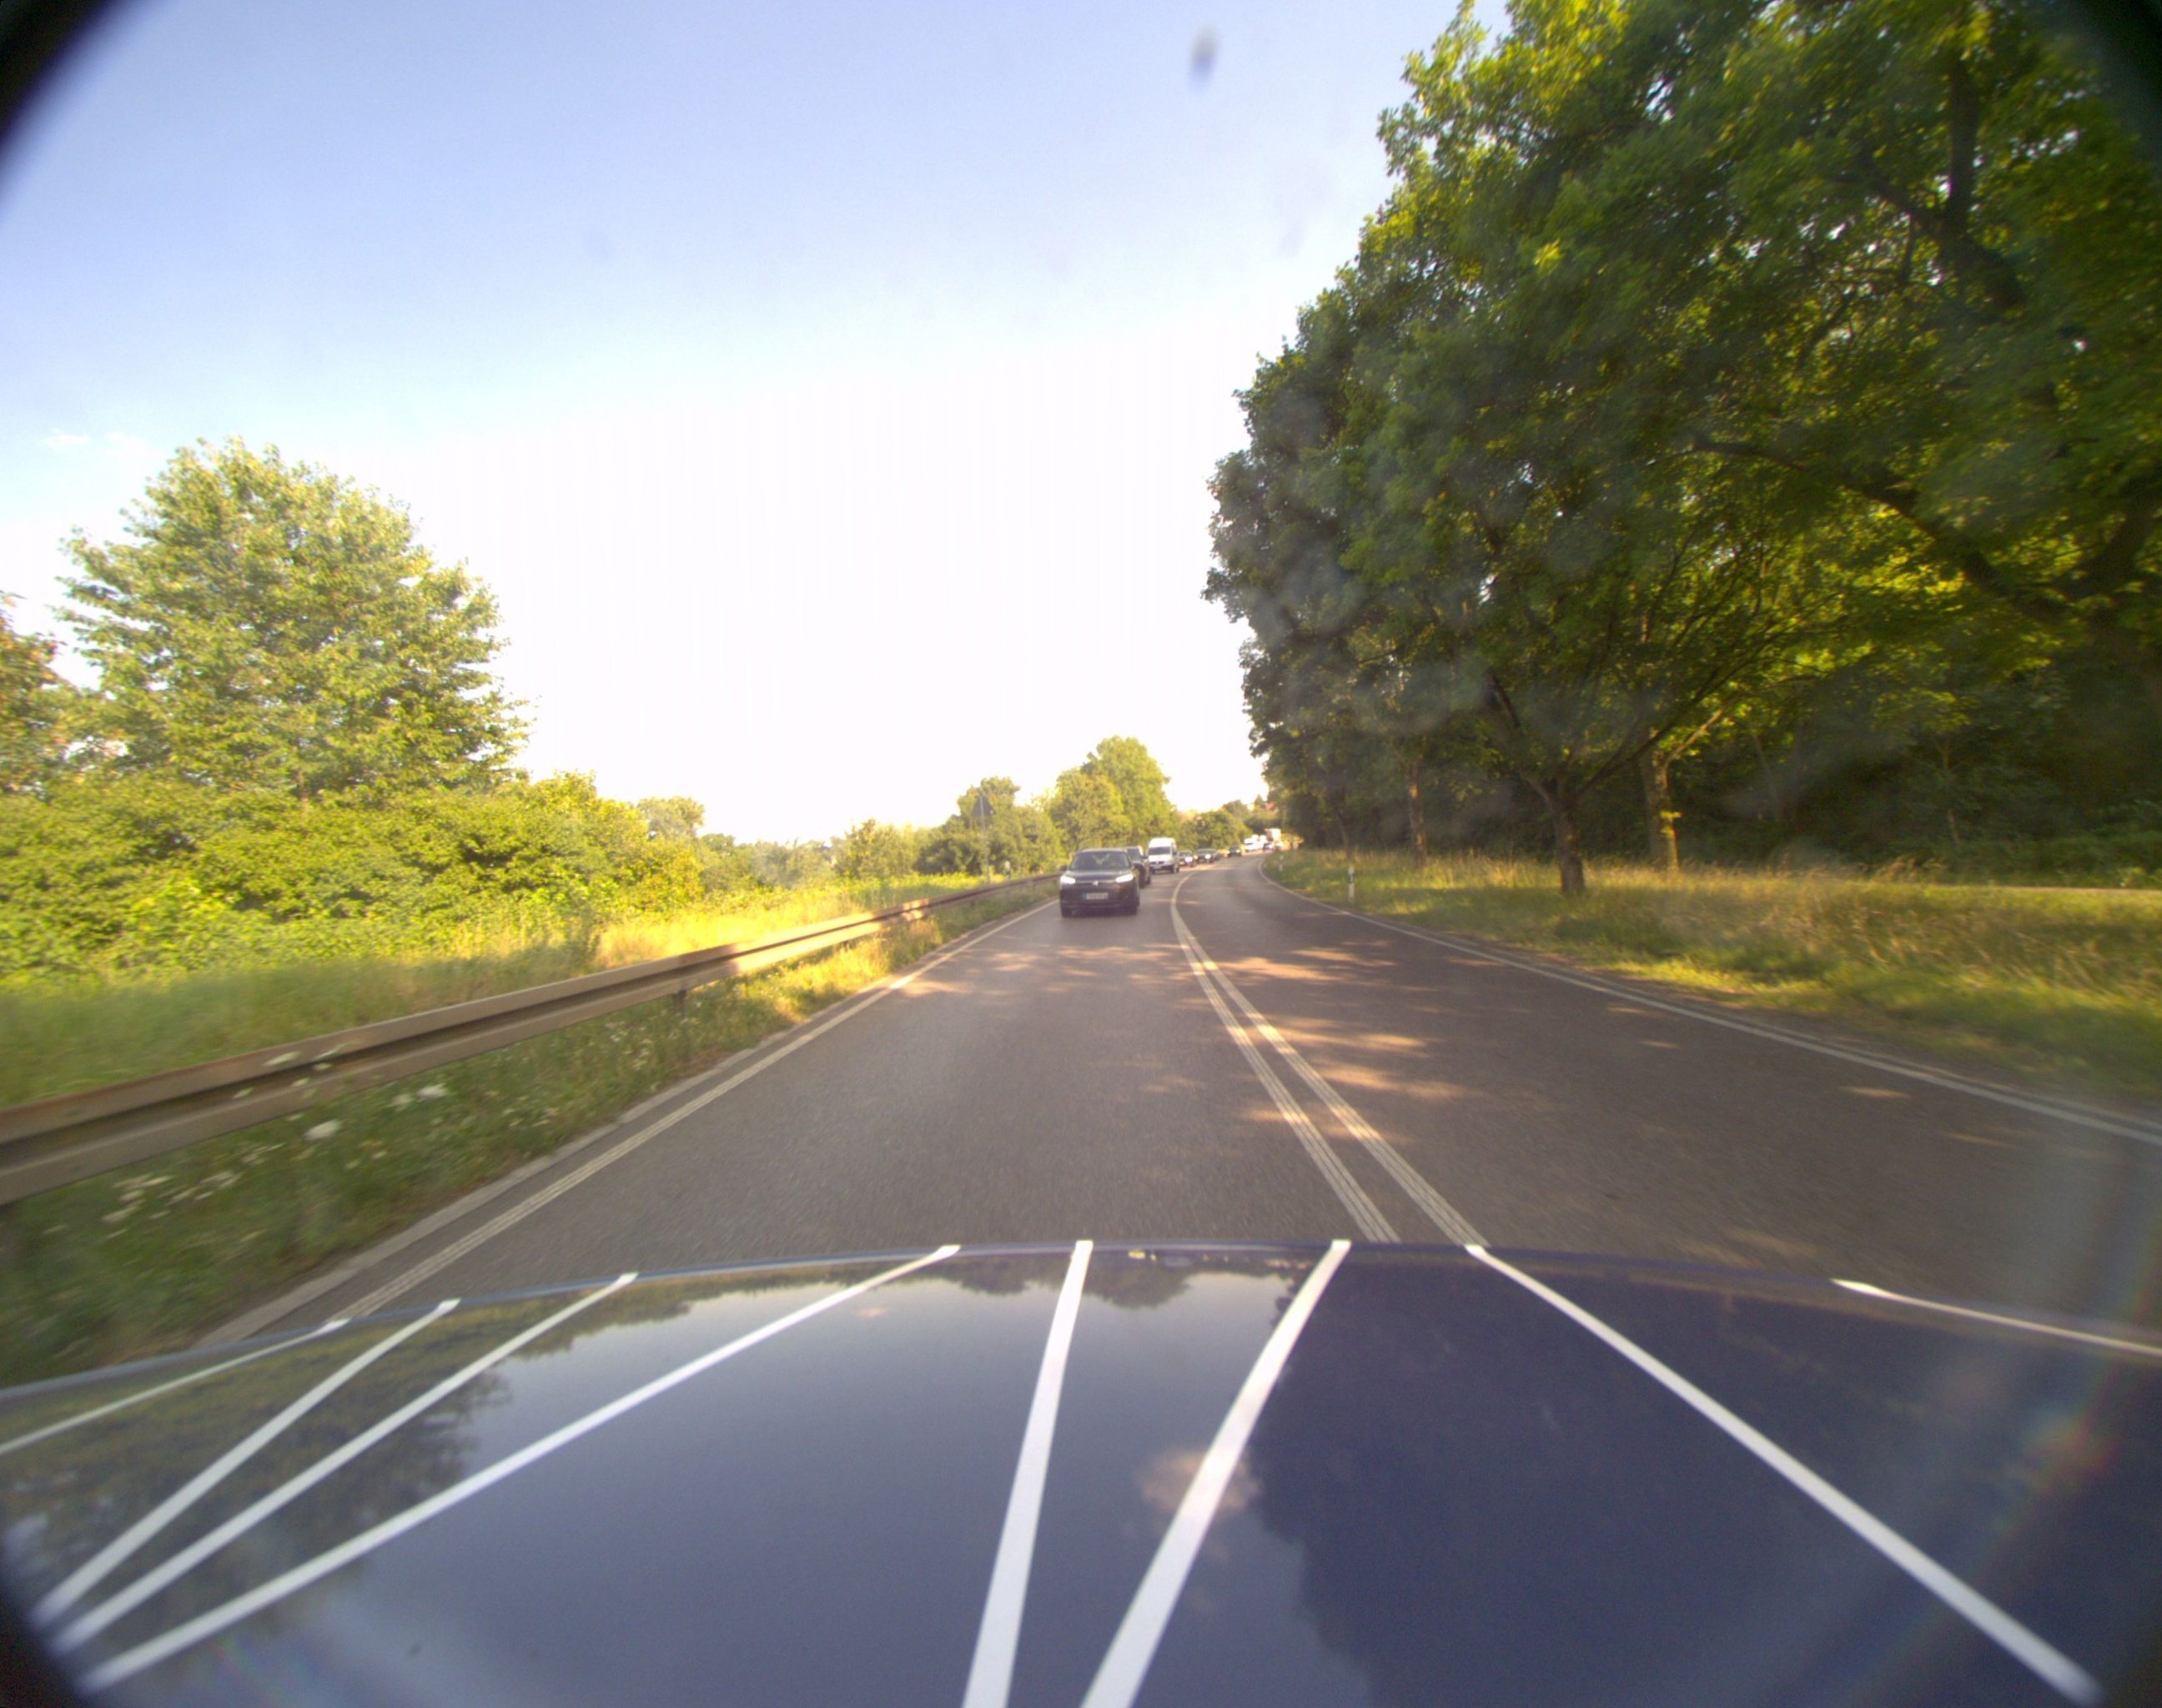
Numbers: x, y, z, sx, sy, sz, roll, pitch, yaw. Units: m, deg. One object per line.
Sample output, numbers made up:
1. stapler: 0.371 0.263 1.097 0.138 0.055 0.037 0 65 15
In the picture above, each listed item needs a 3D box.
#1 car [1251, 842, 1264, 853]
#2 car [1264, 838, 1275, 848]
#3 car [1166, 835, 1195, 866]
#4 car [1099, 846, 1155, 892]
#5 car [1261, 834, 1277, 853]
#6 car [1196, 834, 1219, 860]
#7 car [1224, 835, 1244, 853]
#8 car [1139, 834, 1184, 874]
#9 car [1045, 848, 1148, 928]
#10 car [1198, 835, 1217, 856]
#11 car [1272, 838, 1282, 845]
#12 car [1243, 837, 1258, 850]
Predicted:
1. car: 39.726 -1.487 170.857 2.085 2.403 5.149 -2 1 21
2. car: 33.587 -2.007 135.432 1.899 1.622 4.255 -2 1 15
3. car: 8.305 -0.323 62.987 2.087 2.403 5.145 -2 1 9
4. car: 2.025 0.583 32.397 1.921 1.718 4.704 -2 0 8
5. car: 26.018 -1.462 105.041 2.086 2.403 5.146 -2 1 14
6. car: 12.719 -0.725 76.549 2.087 2.403 5.145 -2 1 9
7. car: 22.443 -1.483 111.300 2.085 2.403 5.149 -2 1 21
8. car: 5.350 -0.041 49.900 2.086 2.403 5.147 -2 1 15
9. car: 0.539 0.733 18.882 1.921 1.612 4.703 -2 1 8
10. car: 15.055 -1.004 90.218 2.087 2.403 5.145 -2 1 9
11. car: 46.684 -2.927 181.079 1.892 1.622 4.255 -2 1 18
12. car: 32.770 -2.043 146.794 2.085 2.403 5.149 -2 1 21
